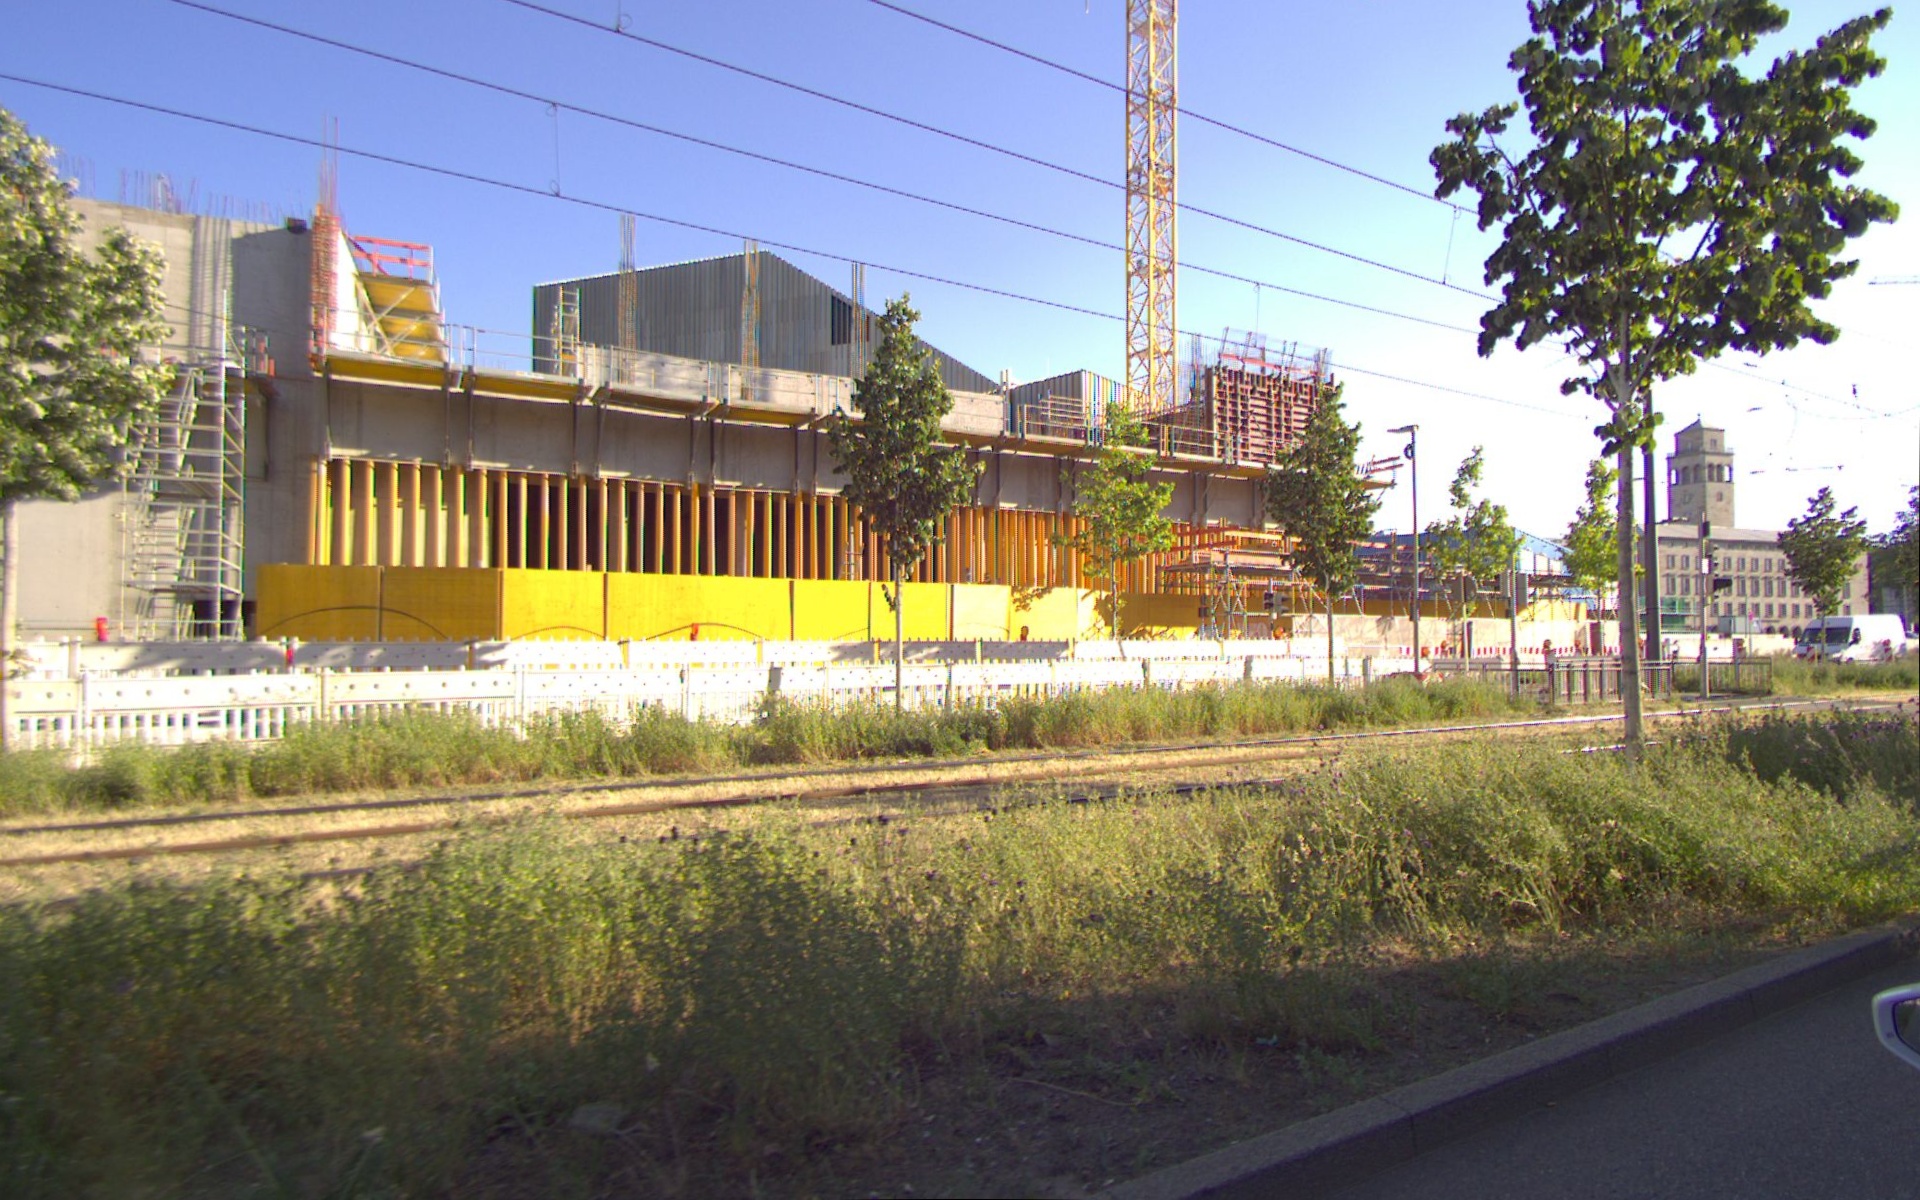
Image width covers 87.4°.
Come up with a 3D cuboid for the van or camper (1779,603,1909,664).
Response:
[{"bbox_3d":[39.867,1.501,45.230,7.117,2.542,2.211,0,-4,-31],"label":"van or camper"}]

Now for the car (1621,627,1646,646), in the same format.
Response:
[{"bbox_3d":[61.139,3.331,91.160,1.392,1.657,4.203,-1,-2,41],"label":"car"}]

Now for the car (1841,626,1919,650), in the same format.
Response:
[{"bbox_3d":[69.493,2.813,74.945,2.095,1.739,5.214,1,-2,-24],"label":"car"}]
